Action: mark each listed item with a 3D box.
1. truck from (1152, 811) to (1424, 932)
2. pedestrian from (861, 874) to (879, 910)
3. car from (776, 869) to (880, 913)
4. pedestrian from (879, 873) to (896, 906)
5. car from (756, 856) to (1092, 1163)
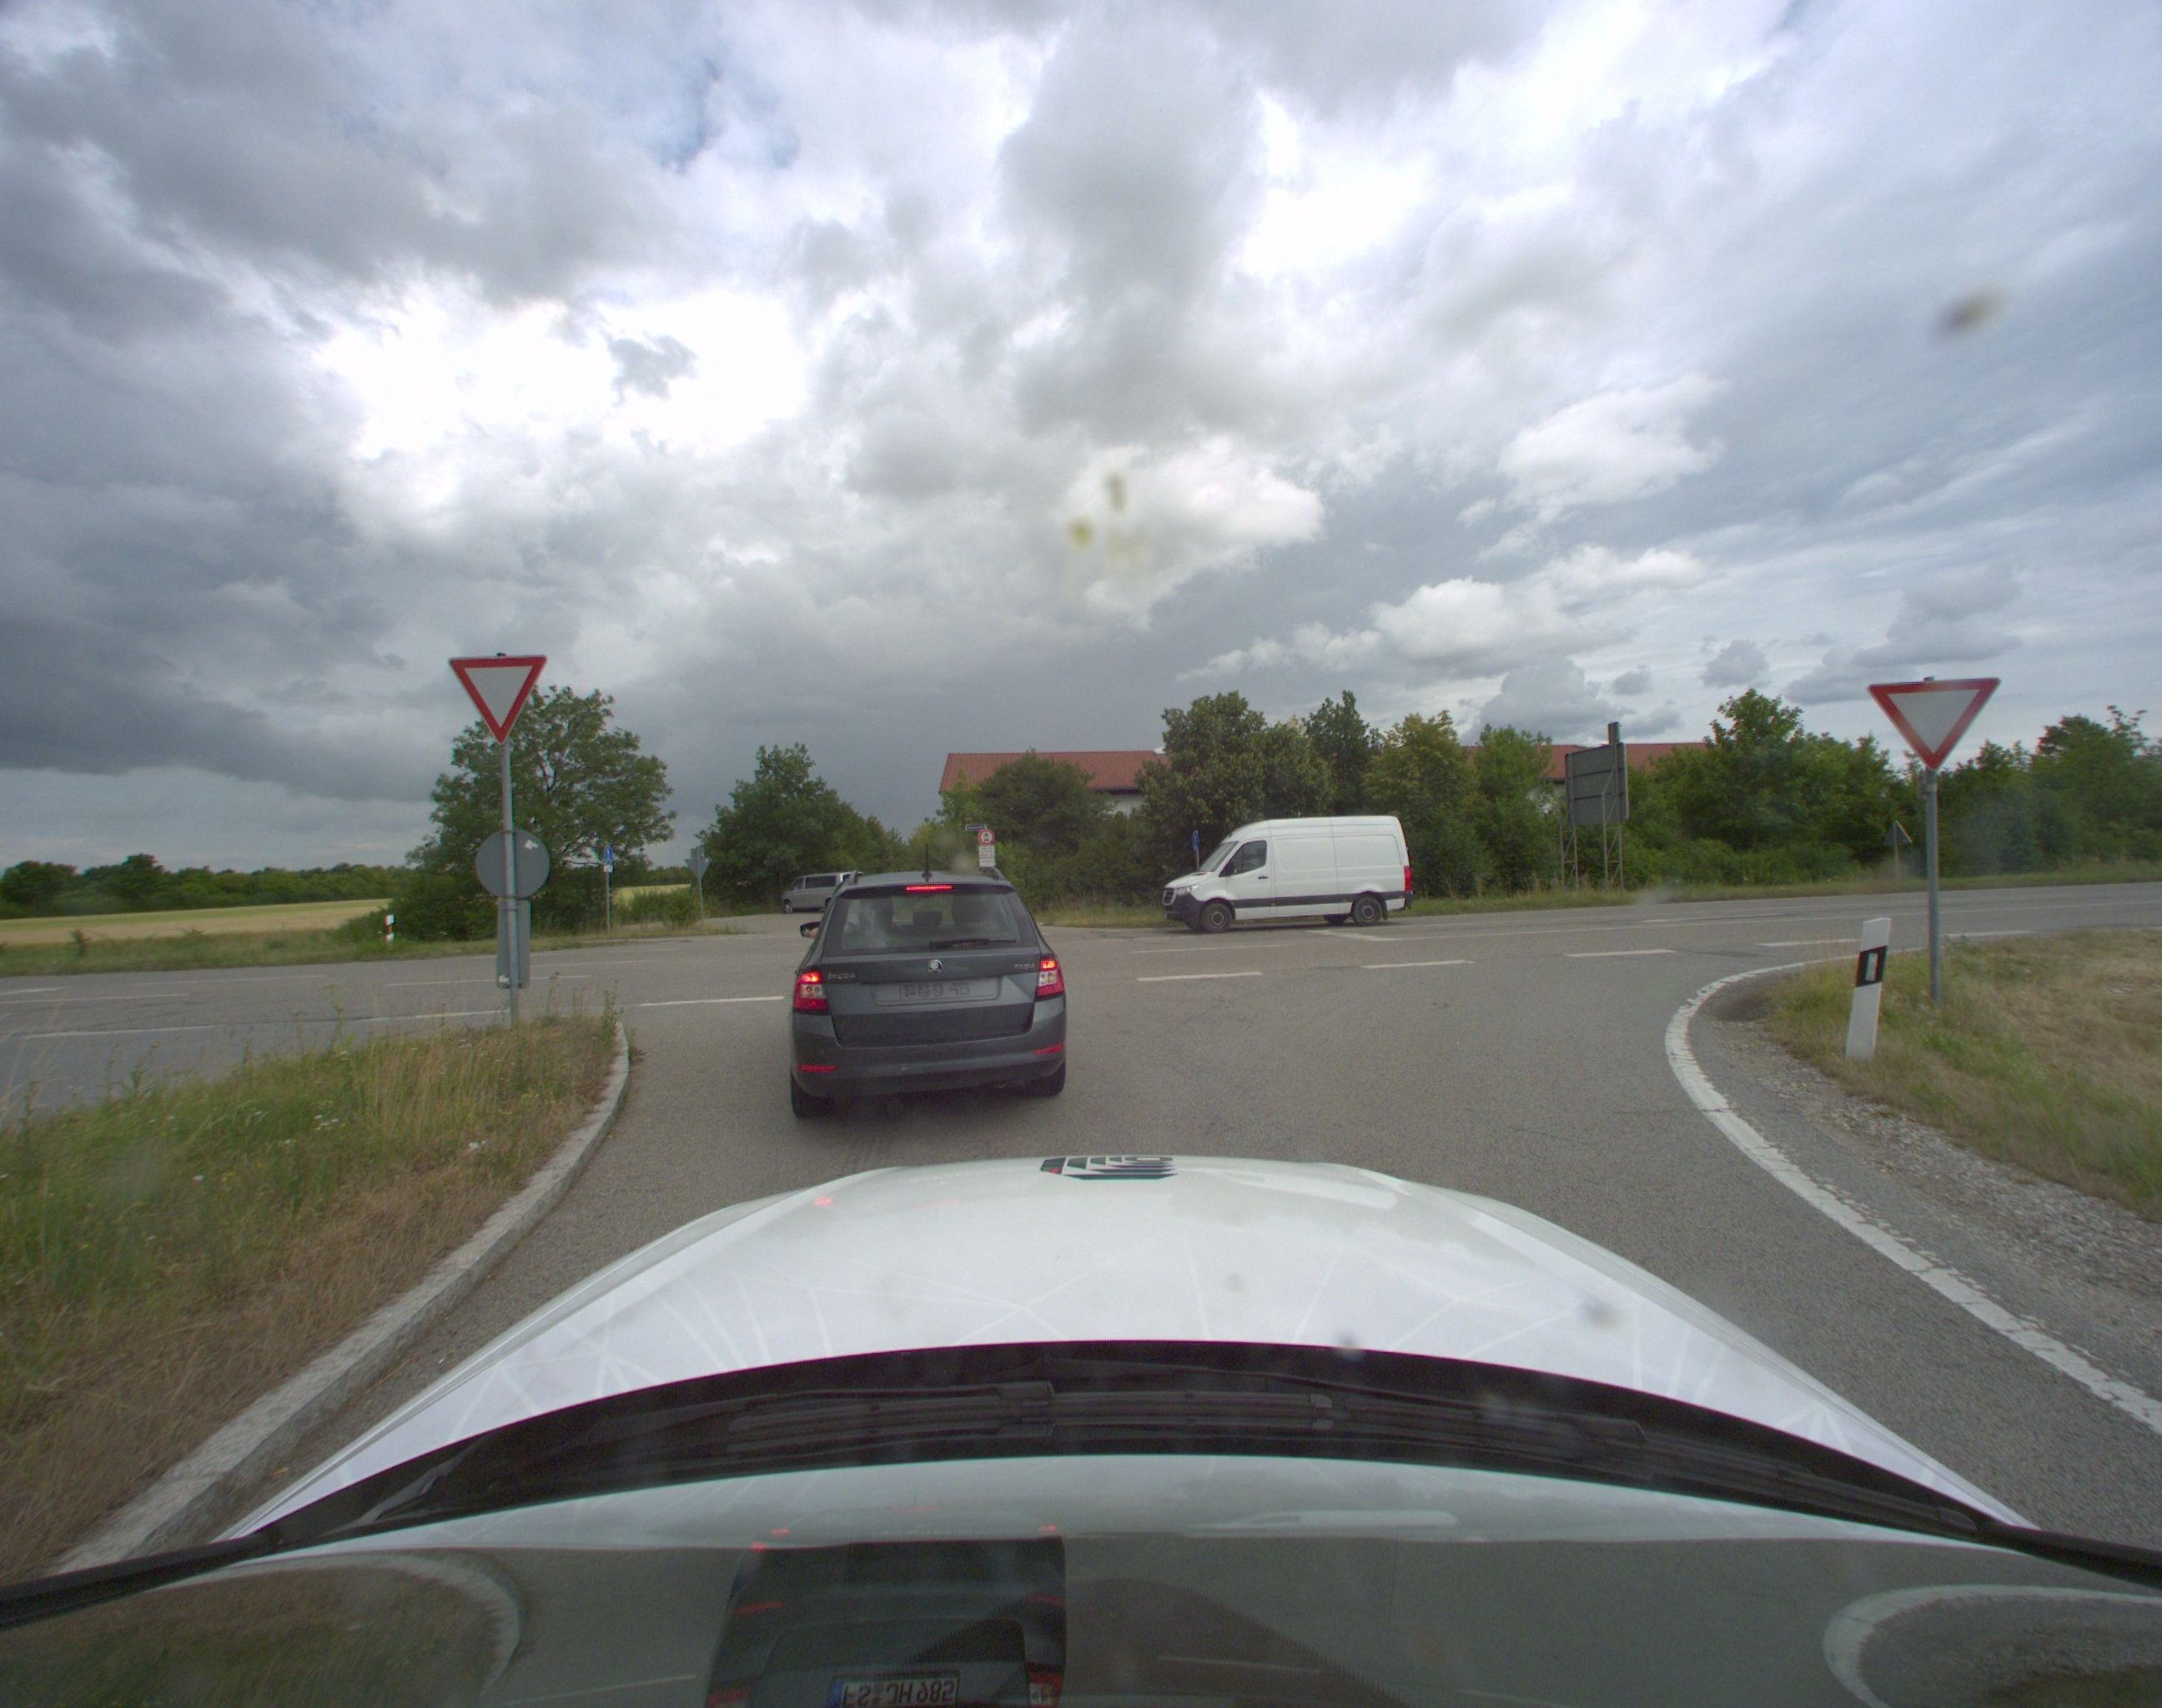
[{"bbox_3d":[4.913,0.402,19.733,5.991,2.576,1.995,-2,-2,-8],"label":"truck"},{"bbox_3d":[-10.652,1.912,41.110,0.523,1.725,0.646,-3,0,31],"label":"pedestrian"},{"bbox_3d":[-12.937,1.905,41.577,4.851,2.013,2.357,-3,0,32],"label":"car"},{"bbox_3d":[-10.190,1.840,42.801,0.578,1.682,0.569,-3,0,19],"label":"pedestrian"},{"bbox_3d":[-1.222,0.817,6.012,1.679,1.463,3.689,-1,-1,-14],"label":"car"}]
